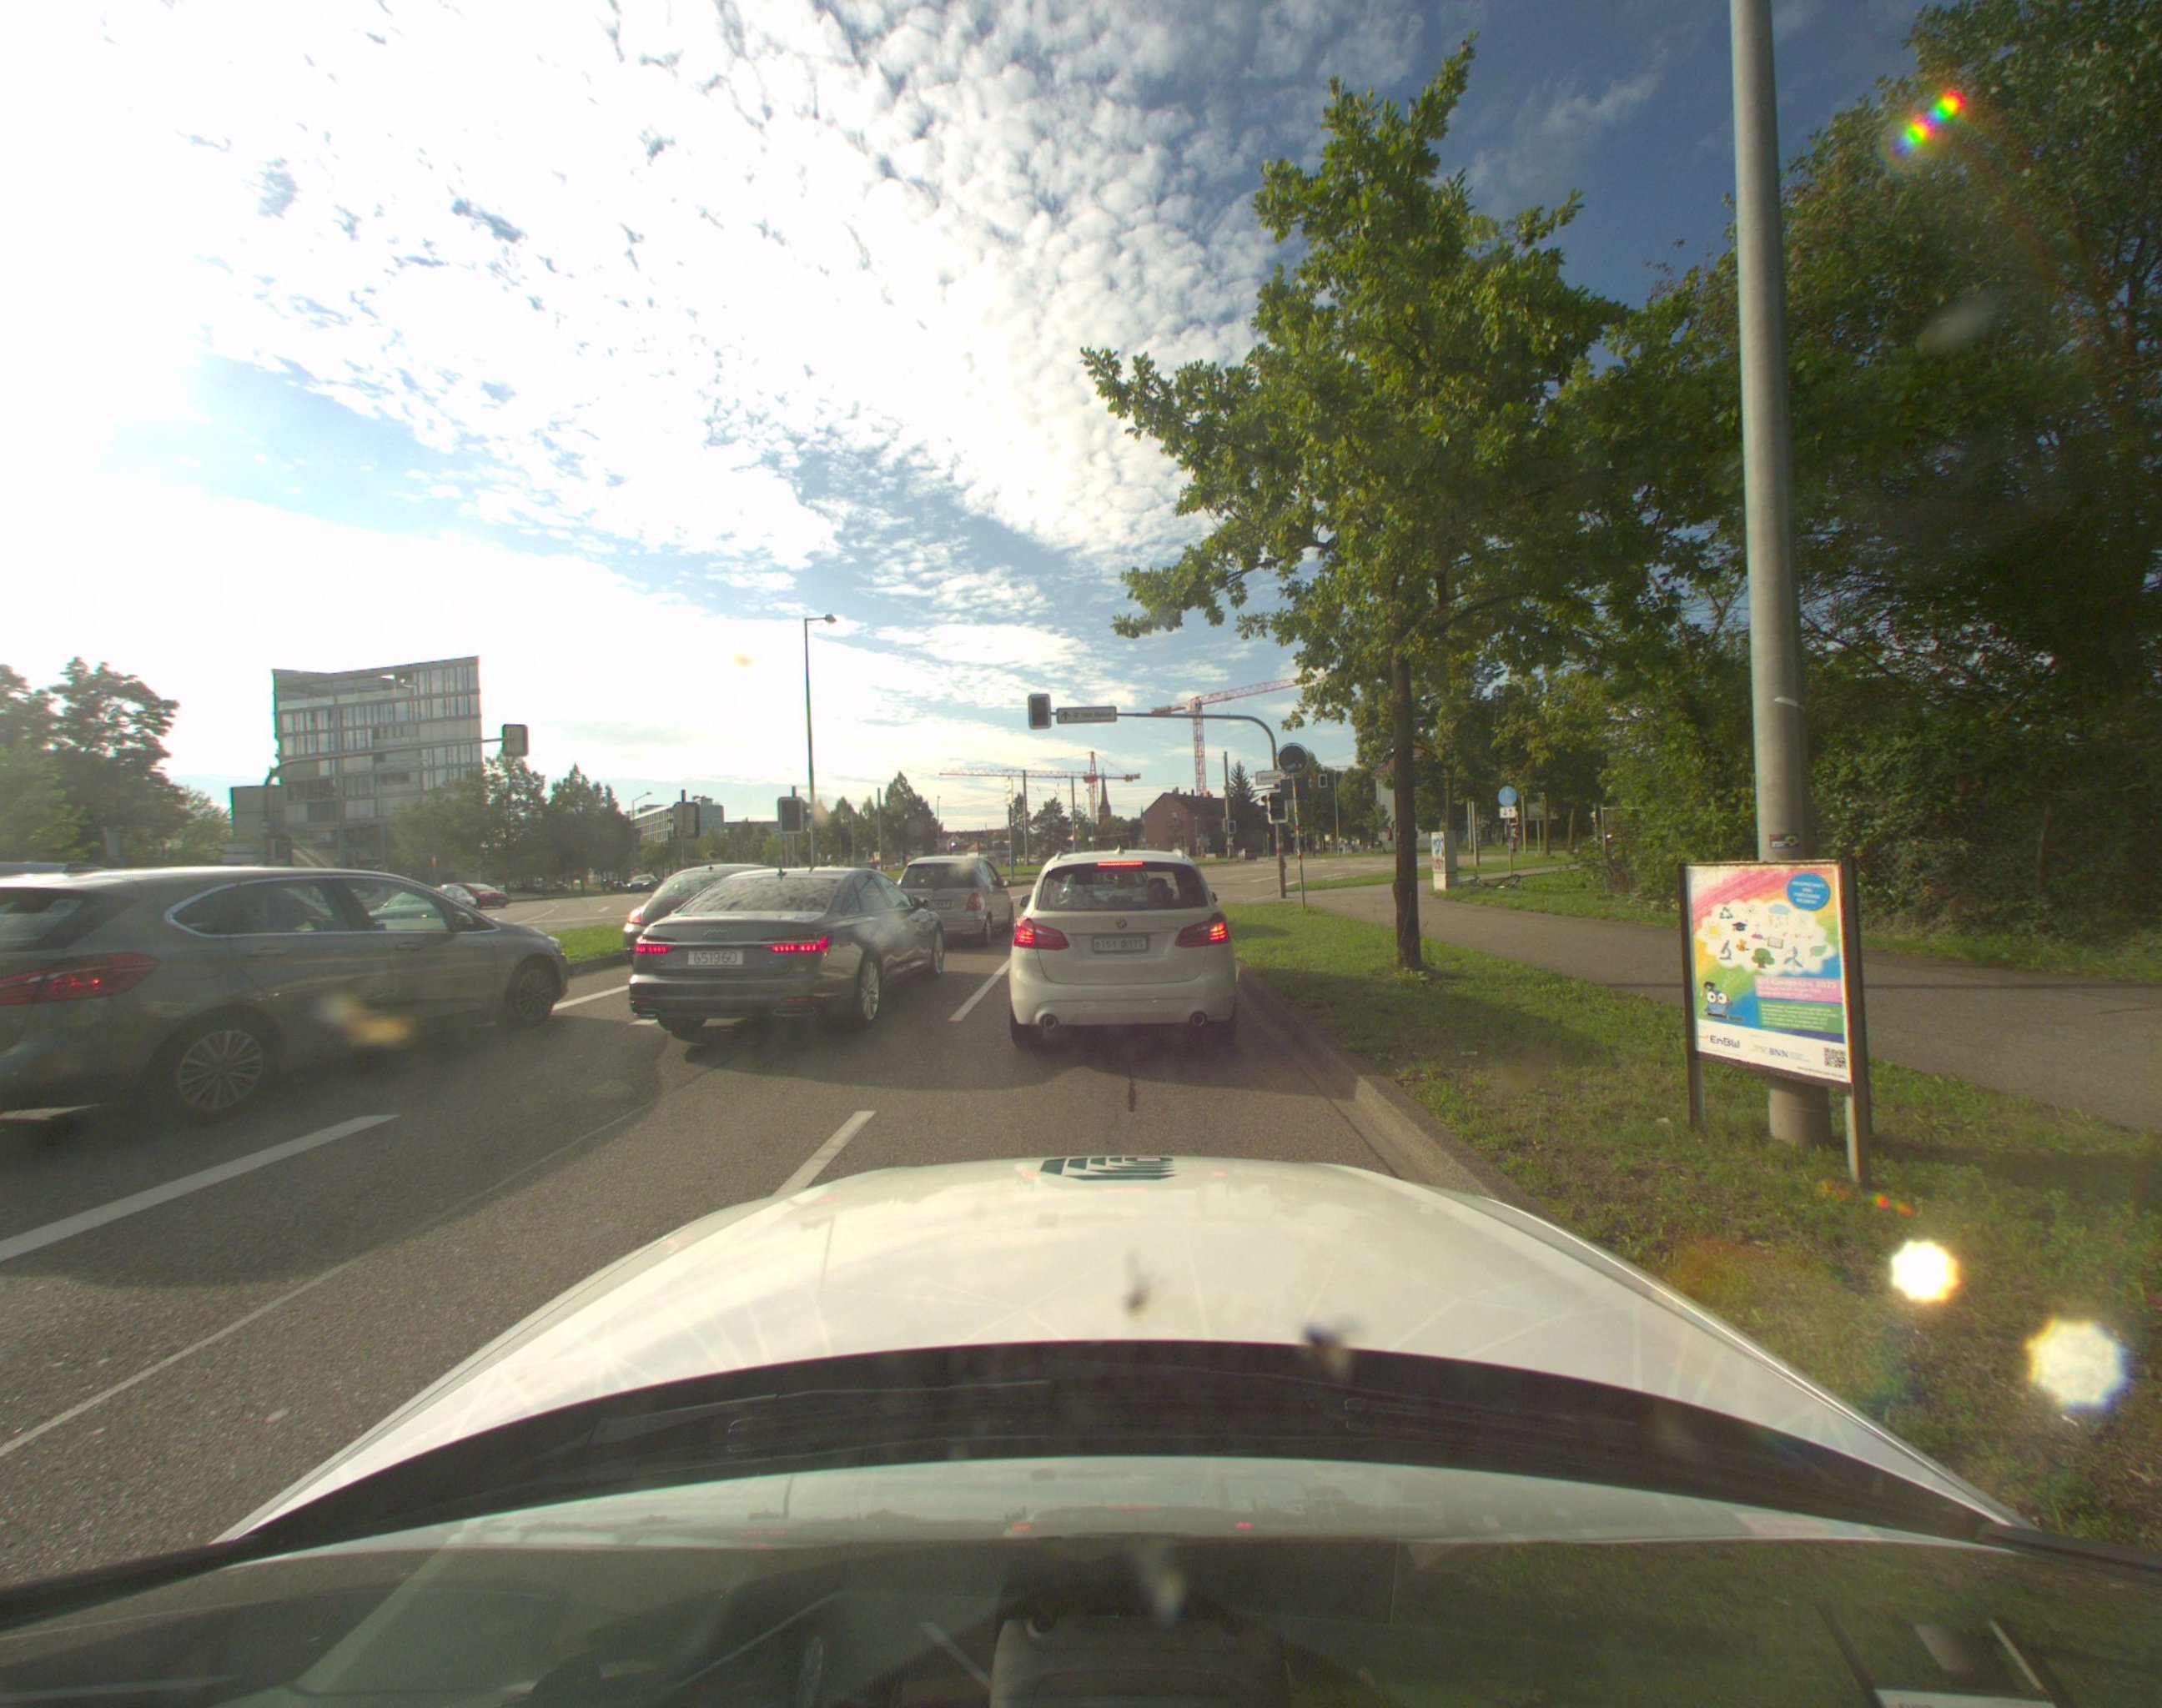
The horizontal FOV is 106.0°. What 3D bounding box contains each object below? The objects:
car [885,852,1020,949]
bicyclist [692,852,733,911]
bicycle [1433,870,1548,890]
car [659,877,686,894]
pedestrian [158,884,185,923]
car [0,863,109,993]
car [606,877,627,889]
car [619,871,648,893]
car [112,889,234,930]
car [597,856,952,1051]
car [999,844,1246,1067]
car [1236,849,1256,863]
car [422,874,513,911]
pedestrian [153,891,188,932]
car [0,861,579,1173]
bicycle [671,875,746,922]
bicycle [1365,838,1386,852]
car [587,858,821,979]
[{"bbox_3d":[-2.257,0.766,15.339,1.722,1.558,4.060,-1,0,2],"label":"car"},{"bbox_3d":[-10.046,0.742,22.245,0.850,1.526,0.737,-3,-1,-15],"label":"bicyclist"},{"bbox_3d":[10.464,0.657,20.967,1.407,0.385,2.568,-3,0,-9],"label":"bicycle"},{"bbox_3d":[-44.210,3.396,88.123,1.790,1.575,3.978,-3,0,-16],"label":"car"},{"bbox_3d":[-48.644,2.659,43.558,0.923,2.013,0.887,-3,-1,40],"label":"pedestrian"},{"bbox_3d":[-19.491,1.331,12.572,1.990,2.235,5.916,-4,0,-4],"label":"car"},{"bbox_3d":[-67.786,4.215,118.875,1.723,1.691,3.951,-2,0,-42],"label":"car"},{"bbox_3d":[-35.292,2.176,64.250,1.715,1.574,3.966,-2,0,-25],"label":"car"},{"bbox_3d":[-43.183,2.609,38.855,3.513,1.592,1.578,-3,0,-31],"label":"car"},{"bbox_3d":[-2.760,0.798,8.657,1.883,1.483,4.614,-1,-1,2],"label":"car"},{"bbox_3d":[0.354,0.727,7.835,1.723,1.558,4.059,-1,0,2],"label":"car"},{"bbox_3d":[20.330,0.262,100.294,1.567,1.574,3.193,-2,0,-5],"label":"car"},{"bbox_3d":[-32.682,2.041,43.416,3.957,1.769,1.718,-2,0,15],"label":"car"},{"bbox_3d":[-36.480,2.288,32.643,0.654,1.569,0.614,-2,-1,-5],"label":"pedestrian"},{"bbox_3d":[-5.978,0.862,6.164,1.722,1.558,4.021,-1,0,2],"label":"car"},{"bbox_3d":[-10.136,1.209,22.216,1.728,1.163,0.652,-2,-1,-15],"label":"bicycle"},{"bbox_3d":[33.479,-1.023,92.571,0.898,1.530,2.268,0,-2,-28],"label":"bicycle"},{"bbox_3d":[-5.466,0.841,12.393,1.674,1.523,3.811,-1,0,1],"label":"car"}]
